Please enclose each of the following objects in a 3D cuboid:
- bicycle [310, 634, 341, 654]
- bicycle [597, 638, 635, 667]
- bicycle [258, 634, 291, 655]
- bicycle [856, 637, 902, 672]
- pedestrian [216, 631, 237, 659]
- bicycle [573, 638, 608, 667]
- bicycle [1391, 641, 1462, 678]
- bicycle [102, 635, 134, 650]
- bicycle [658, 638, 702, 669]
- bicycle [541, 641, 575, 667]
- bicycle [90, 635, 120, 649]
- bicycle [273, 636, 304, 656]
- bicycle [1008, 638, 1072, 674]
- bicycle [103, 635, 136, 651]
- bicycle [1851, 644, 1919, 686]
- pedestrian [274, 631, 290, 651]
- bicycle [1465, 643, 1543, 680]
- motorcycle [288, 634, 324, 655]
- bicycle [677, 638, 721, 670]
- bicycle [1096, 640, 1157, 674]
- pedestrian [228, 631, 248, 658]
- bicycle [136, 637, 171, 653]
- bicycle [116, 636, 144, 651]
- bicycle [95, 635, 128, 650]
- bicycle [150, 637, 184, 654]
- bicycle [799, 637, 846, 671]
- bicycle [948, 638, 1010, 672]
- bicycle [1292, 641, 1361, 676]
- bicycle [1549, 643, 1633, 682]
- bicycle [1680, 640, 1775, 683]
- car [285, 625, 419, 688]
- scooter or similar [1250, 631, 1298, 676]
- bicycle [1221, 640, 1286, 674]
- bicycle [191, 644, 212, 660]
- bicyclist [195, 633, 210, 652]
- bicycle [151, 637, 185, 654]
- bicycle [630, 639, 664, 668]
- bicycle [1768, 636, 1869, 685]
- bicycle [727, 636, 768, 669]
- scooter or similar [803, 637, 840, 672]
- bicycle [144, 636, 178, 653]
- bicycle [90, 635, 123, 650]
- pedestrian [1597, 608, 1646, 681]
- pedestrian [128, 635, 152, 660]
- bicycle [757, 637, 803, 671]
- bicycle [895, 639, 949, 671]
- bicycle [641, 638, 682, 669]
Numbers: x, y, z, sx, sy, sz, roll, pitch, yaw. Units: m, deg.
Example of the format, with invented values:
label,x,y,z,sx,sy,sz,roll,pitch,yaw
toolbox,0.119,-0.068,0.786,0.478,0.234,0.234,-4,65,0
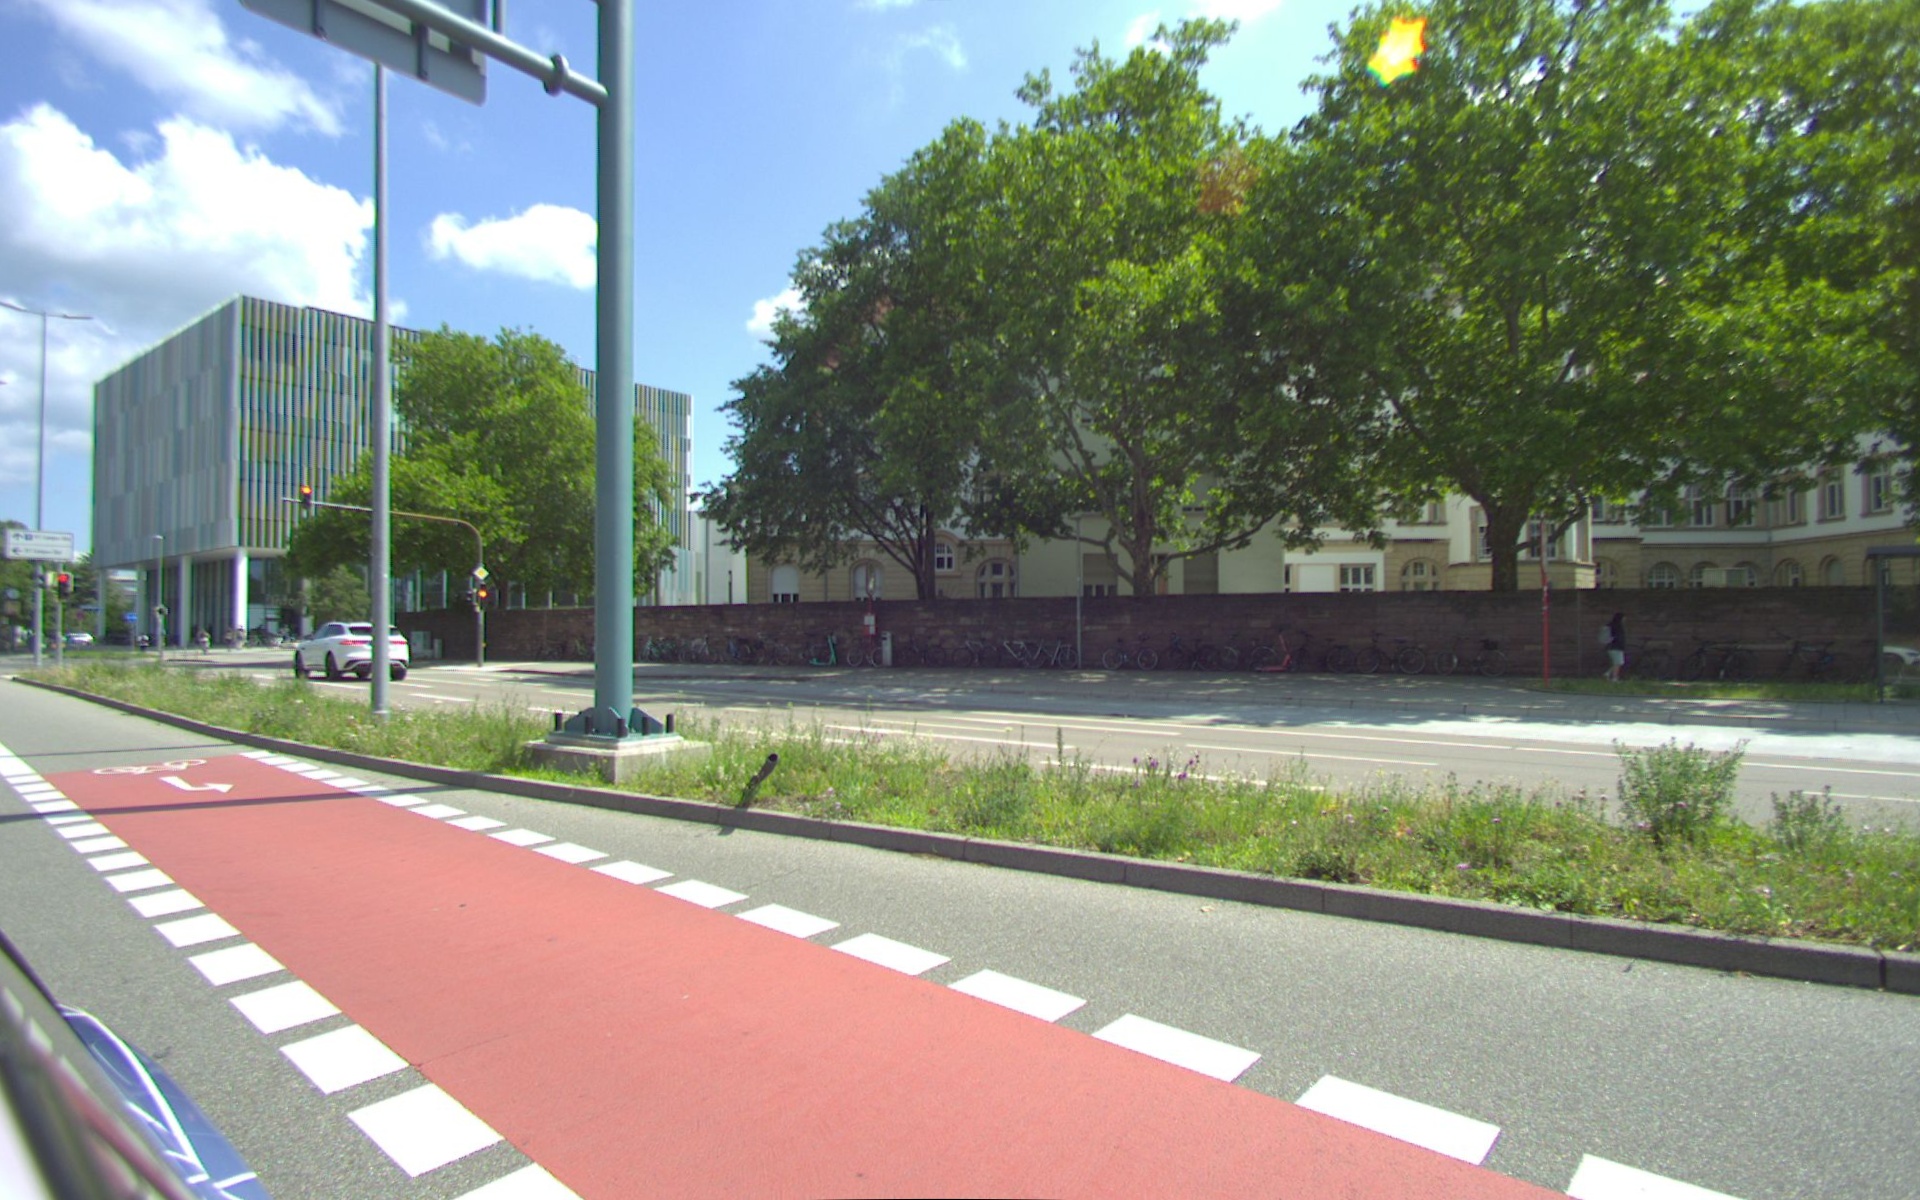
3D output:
label,x,y,z,sx,sy,sz,roll,pitch,yaw
bicycle,-50.764,3.513,81.048,1.034,1.564,3.423,0,-2,-13
bicycle,-13.991,2.129,41.106,1.589,1.161,0.616,-2,-2,33
bicycle,-54.583,3.545,80.621,0.797,1.656,3.420,0,-2,-8
bicycle,-2.726,1.827,33.959,1.587,1.152,0.429,-2,-2,29
pedestrian,-51.792,3.185,71.483,0.955,1.940,0.882,0,-2,-20
bicycle,-15.348,2.183,42.029,1.589,1.161,0.495,-2,-2,33
bicycle,12.064,1.533,26.195,1.656,0.909,0.540,-1,-2,26
bicycle,-85.797,4.354,103.119,0.621,1.506,2.479,-2,-2,41
bicycle,-10.625,2.018,38.402,1.576,1.161,0.401,-1,-2,8
bicycle,-17.161,2.288,43.188,1.589,1.107,0.567,-2,-2,33
bicycle,-90.169,4.427,106.742,0.656,1.506,2.273,-2,-2,41
bicycle,-53.540,3.634,80.718,0.919,1.505,2.690,0,-1,-4
bicycle,2.440,1.688,30.822,1.887,1.055,0.540,-2,-2,29
bicycle,-85.013,4.338,102.324,0.621,1.506,2.479,-2,-2,41
bicycle,21.126,1.442,22.643,1.653,0.909,0.541,-1,-2,21
pedestrian,-59.741,3.607,89.179,0.997,1.720,1.214,0,-2,-28
bicycle,13.576,1.524,25.277,1.663,0.909,0.497,-2,-2,38
motorcycle,-52.206,3.532,80.831,0.957,1.652,3.301,0,-2,-5
bicycle,-9.747,2.007,37.831,1.576,1.161,0.401,-1,-2,8
bicycle,4.824,1.648,29.418,1.658,0.956,0.540,-2,-2,29
pedestrian,-52.988,3.235,74.284,0.955,1.940,0.882,0,-2,-23
bicycle,-75.613,4.192,94.875,0.621,1.506,2.479,-2,-2,41
bicycle,-82.806,4.313,100.966,0.621,1.506,2.044,-2,-2,41
bicycle,-87.927,4.389,104.876,0.621,1.506,2.479,-2,-2,41
bicycle,-72.629,4.150,92.697,0.621,1.506,2.420,-2,-2,41
bicycle,-4.776,1.887,35.157,1.582,1.161,0.530,-1,-2,20
bicycle,0.593,1.734,31.973,1.941,1.055,0.540,-2,-2,29
bicycle,9.824,1.558,27.150,1.658,0.909,0.540,-2,-2,29
bicycle,15.394,1.520,24.718,1.656,0.909,0.540,-1,-2,26
bicycle,17.936,1.427,23.691,1.655,0.959,0.541,-1,-2,24
car,-17.750,1.598,29.437,4.774,1.680,2.048,-2,-3,42
scooter or similar,8.411,1.439,27.125,1.184,1.192,0.430,-1,-2,20
bicycle,8.130,1.577,28.022,1.658,0.909,0.540,-1,-2,29
bicycle,-49.013,3.358,65.414,0.636,1.006,2.170,0,-2,-24
bicyclist,-49.090,2.749,65.587,0.608,1.235,0.836,0,-2,-26
bicycle,-73.208,4.168,93.569,2.473,1.506,0.731,1,-2,-39
bicycle,-12.455,2.121,40.234,1.591,1.161,0.408,-2,-2,36
bicycle,19.463,1.364,22.980,1.614,1.059,0.541,-1,-2,24
bicycle,-7.766,1.906,36.935,1.587,1.161,0.398,-2,-2,30
scooter or similar,-4.695,1.841,34.292,1.184,1.161,0.430,-1,-2,20
bicycle,-75.821,4.218,96.021,0.621,1.506,2.479,-2,-2,41
bicycle,-88.794,4.397,105.292,0.621,1.506,2.479,-2,-2,41
pedestrian,14.923,0.990,22.846,0.752,1.629,0.612,-1,-1,20
pedestrian,-54.885,3.195,67.750,0.875,1.641,0.962,-1,-2,29
bicycle,-6.398,1.909,35.929,1.582,1.161,0.530,-1,-2,20
bicycle,-1.246,1.783,33.075,1.795,1.016,0.476,-2,-2,32
bicycle,-11.533,2.066,39.109,1.581,1.161,0.400,-1,-2,18
